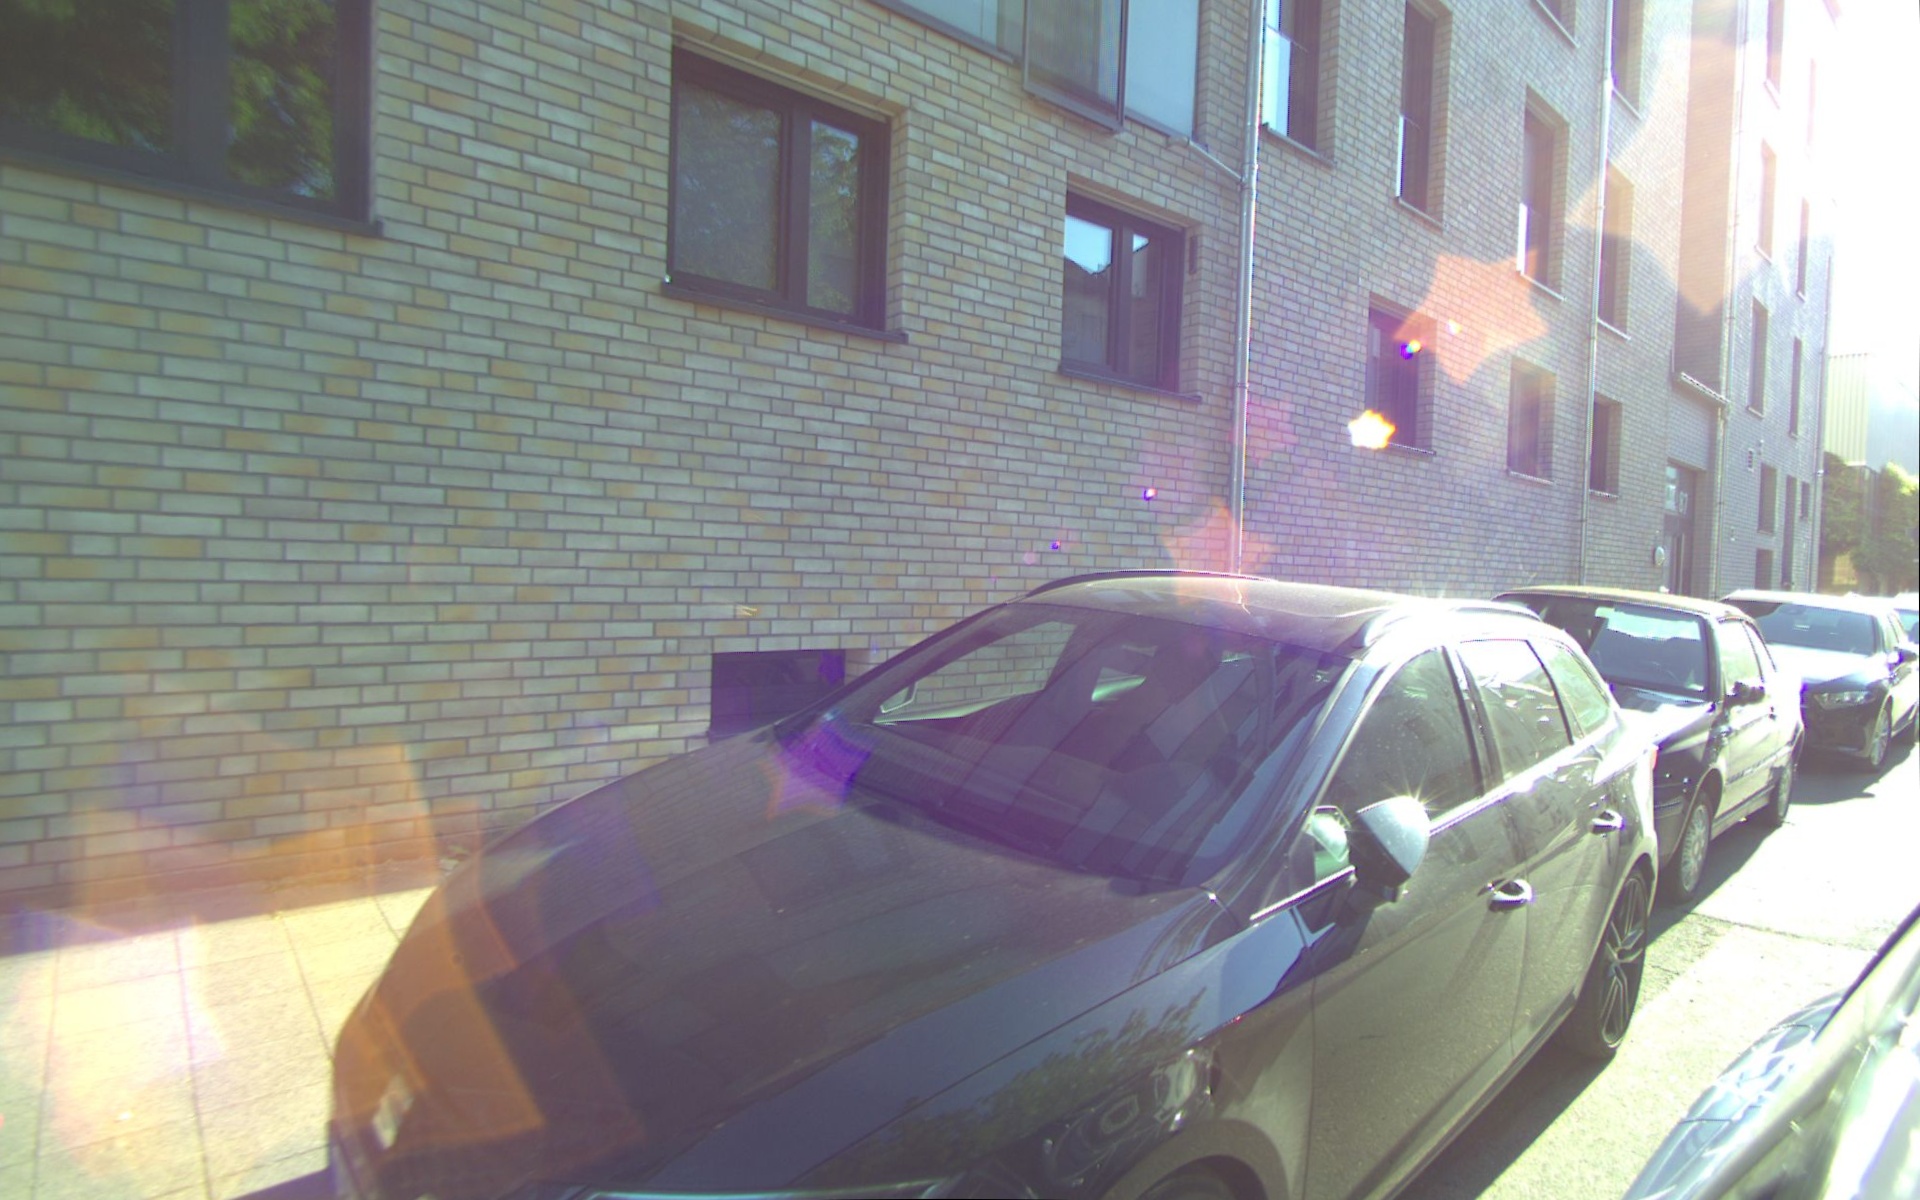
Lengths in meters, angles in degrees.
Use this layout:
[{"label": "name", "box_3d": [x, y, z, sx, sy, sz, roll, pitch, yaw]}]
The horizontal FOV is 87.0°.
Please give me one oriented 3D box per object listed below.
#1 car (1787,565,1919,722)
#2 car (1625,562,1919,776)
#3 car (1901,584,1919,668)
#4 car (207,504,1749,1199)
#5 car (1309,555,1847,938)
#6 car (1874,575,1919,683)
[{"label": "car", "box_3d": [12.408, 0.486, 13.275, 4.756, 1.755, 1.670, 0, 2, -42]}, {"label": "car", "box_3d": [8.362, 0.513, 9.979, 4.544, 1.547, 1.730, 0, 5, -41]}, {"label": "car", "box_3d": [19.546, 0.514, 19.615, 3.595, 1.542, 1.728, 0, 3, -45]}, {"label": "car", "box_3d": [0.765, 0.609, 2.984, 4.640, 1.485, 1.699, 0, 4, -43]}, {"label": "car", "box_3d": [3.999, 0.582, 6.222, 4.147, 1.534, 1.667, 0, 4, -43]}, {"label": "car", "box_3d": [16.356, 0.489, 16.592, 4.270, 1.611, 1.653, 0, 4, -44]}]
